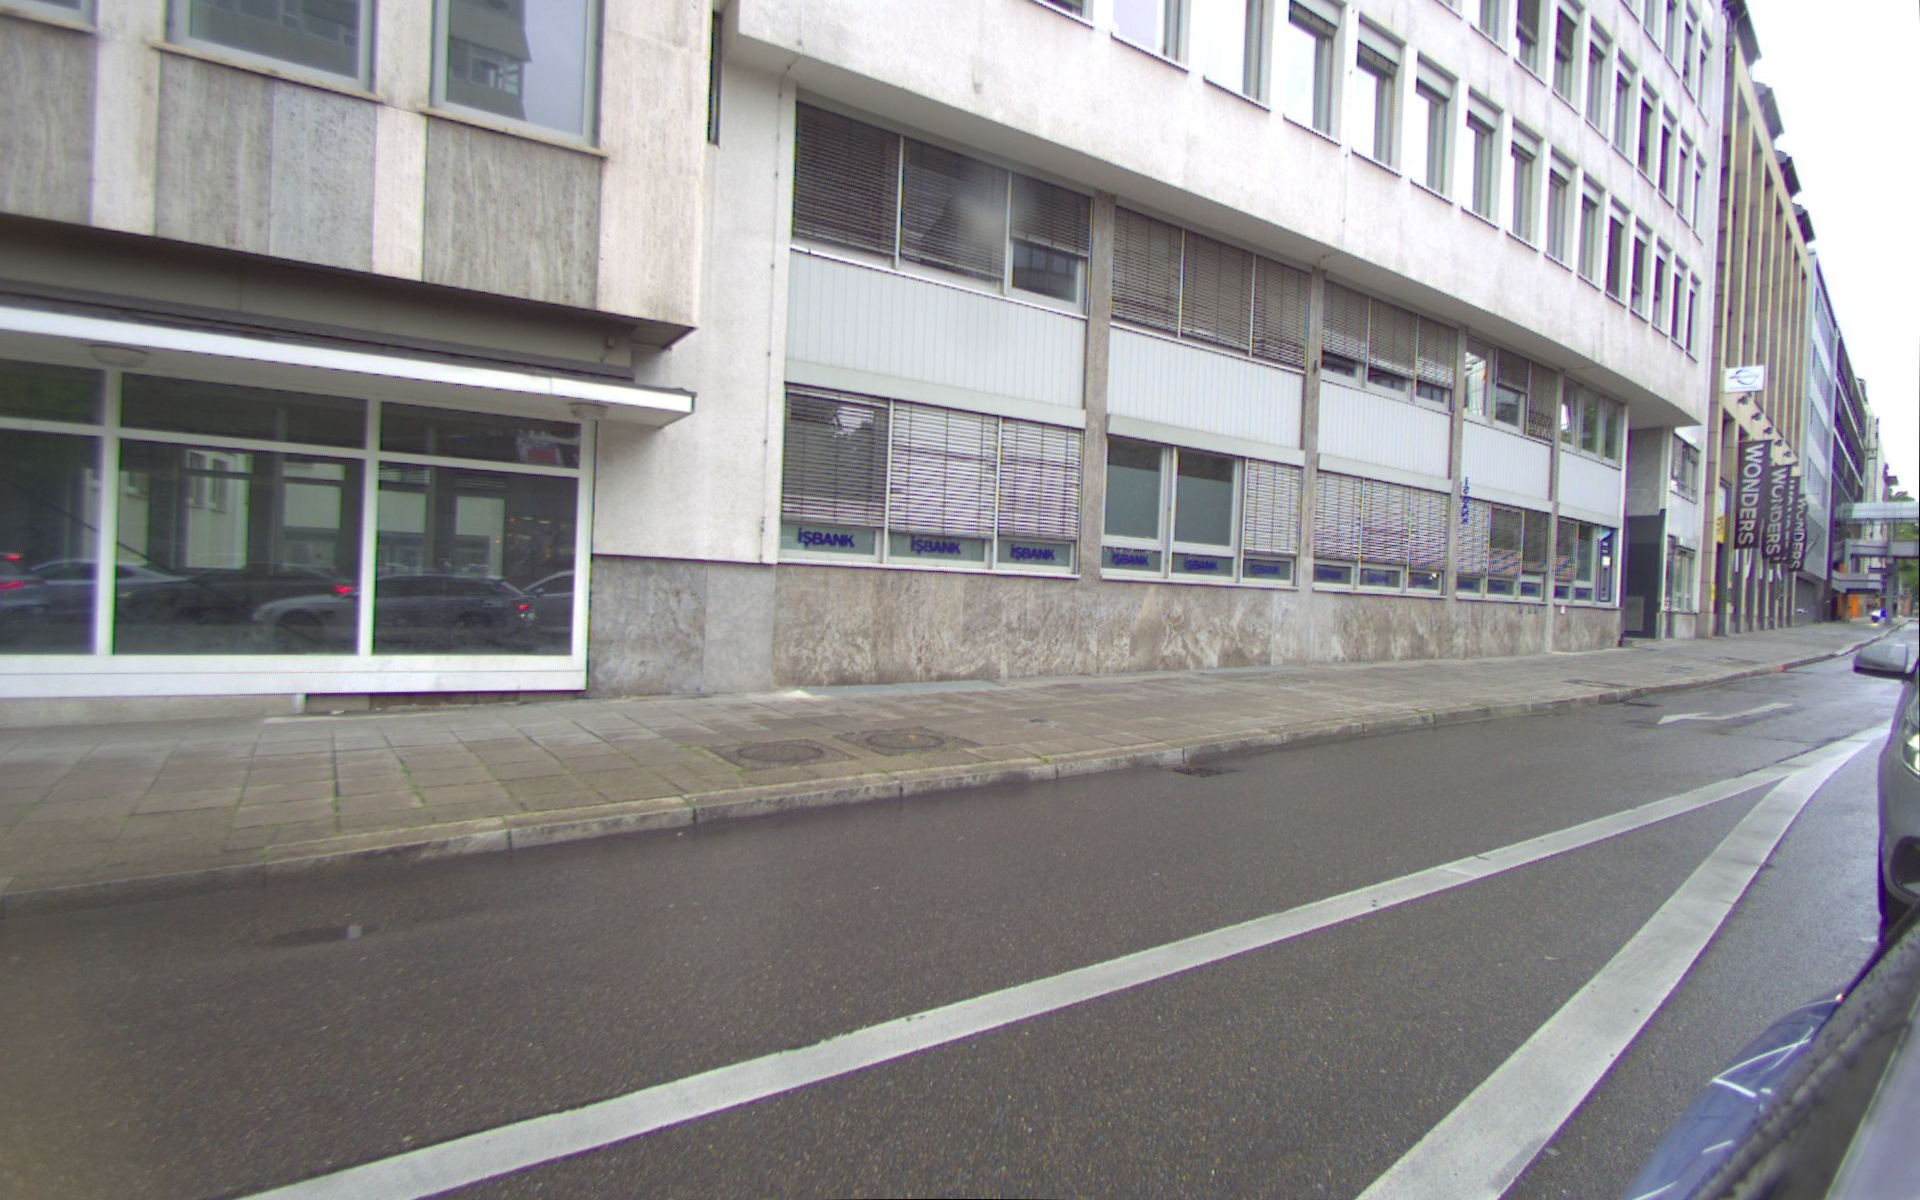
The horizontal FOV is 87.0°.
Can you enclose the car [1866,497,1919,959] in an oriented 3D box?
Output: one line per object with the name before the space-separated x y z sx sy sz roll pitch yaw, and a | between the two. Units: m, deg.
car | 6.261 0.533 5.186 4.940 1.879 1.914 0 0 -42
